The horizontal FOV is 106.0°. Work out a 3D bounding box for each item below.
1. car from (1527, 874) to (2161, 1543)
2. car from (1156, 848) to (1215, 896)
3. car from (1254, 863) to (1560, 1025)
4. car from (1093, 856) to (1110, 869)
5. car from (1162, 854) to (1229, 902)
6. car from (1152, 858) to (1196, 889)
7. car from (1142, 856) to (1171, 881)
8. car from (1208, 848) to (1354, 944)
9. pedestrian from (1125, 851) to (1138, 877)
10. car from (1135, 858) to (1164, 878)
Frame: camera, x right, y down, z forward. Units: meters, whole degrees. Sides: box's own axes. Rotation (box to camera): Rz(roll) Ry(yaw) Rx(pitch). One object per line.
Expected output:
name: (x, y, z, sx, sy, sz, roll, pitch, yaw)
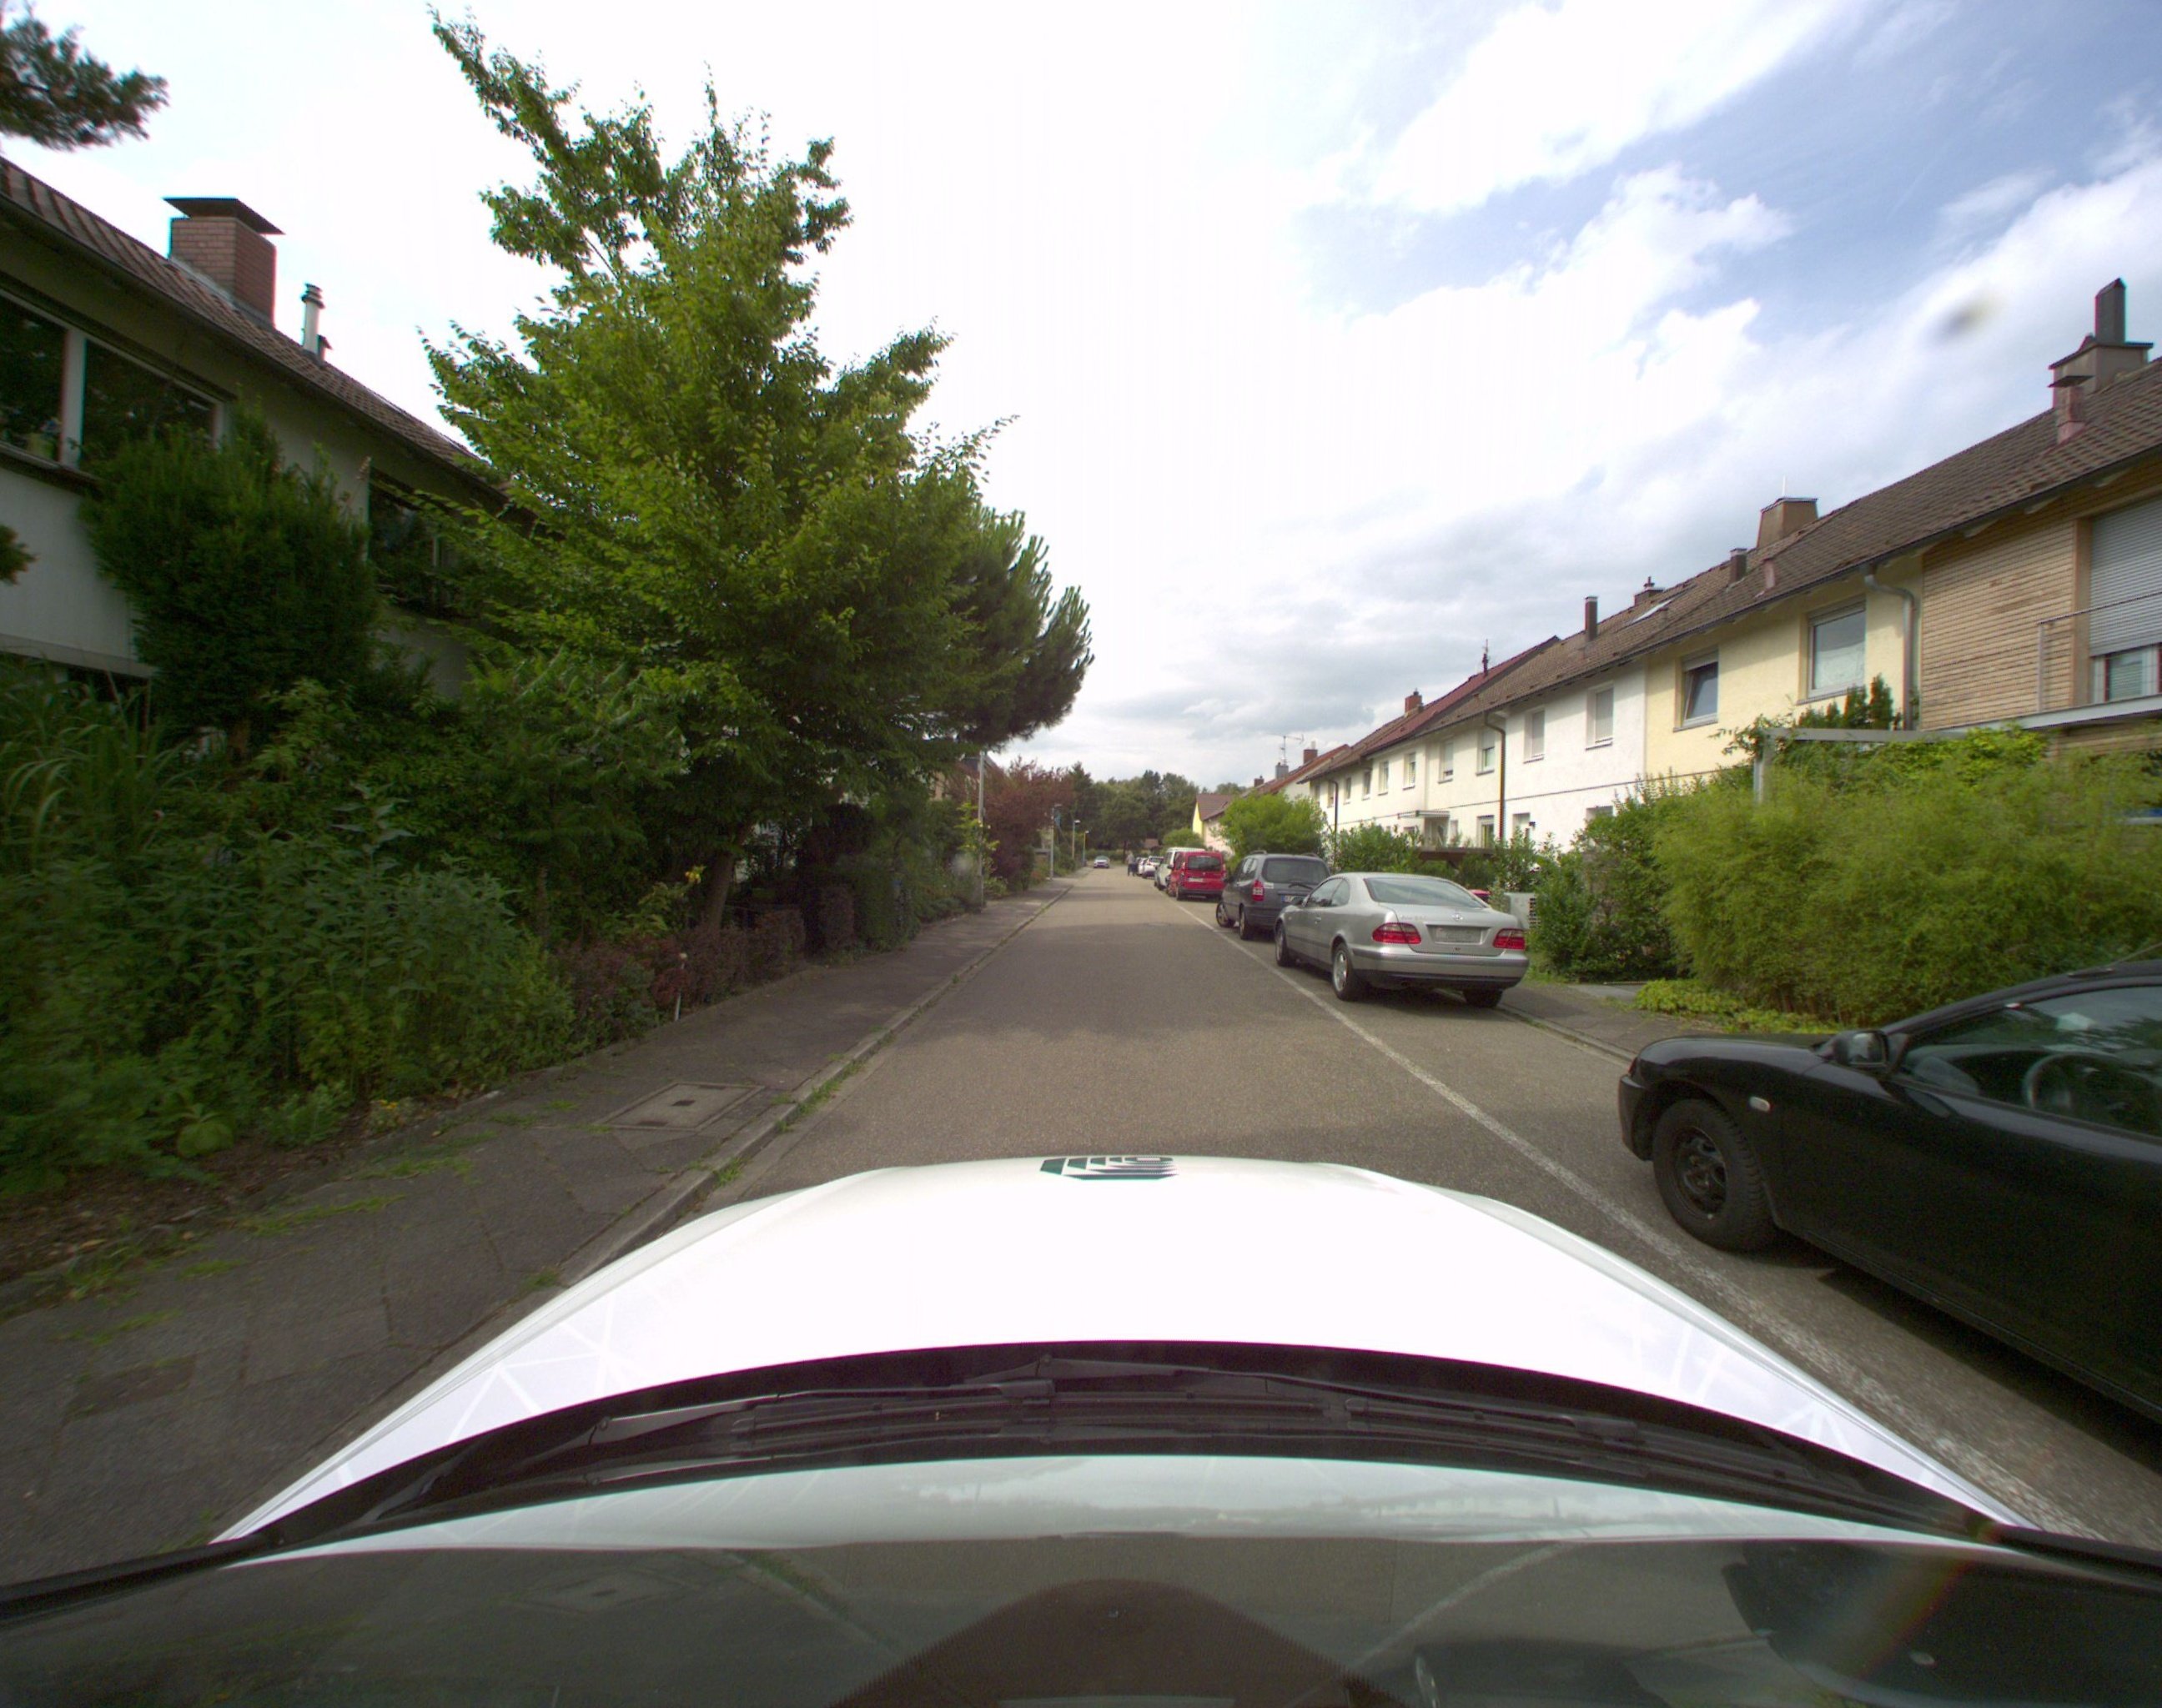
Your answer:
car: (3.280, 0.839, 2.339, 1.727, 1.428, 4.125, 1, 0, 0)
car: (4.507, 0.756, 35.811, 2.014, 1.947, 4.747, 1, 0, 0)
car: (3.642, 0.894, 10.202, 1.862, 1.407, 4.766, 3, 0, 0)
car: (2.515, 1.078, 100.371, 1.926, 1.556, 4.637, 1, 0, 3)
car: (4.252, 0.851, 30.813, 1.805, 1.651, 4.408, 1, 0, -2)
car: (4.627, 0.937, 40.914, 1.893, 1.459, 4.132, 1, 0, 3)
car: (5.149, 0.949, 55.677, 1.707, 1.543, 3.976, 3, 0, 2)
car: (3.887, 0.743, 16.642, 1.861, 1.653, 4.463, 1, 0, 0)
pedestrian: (3.866, 0.756, 62.698, 0.910, 2.013, 0.950, 1, 0, -2)
car: (5.239, 1.039, 63.016, 1.832, 1.413, 4.635, 1, 0, -1)
